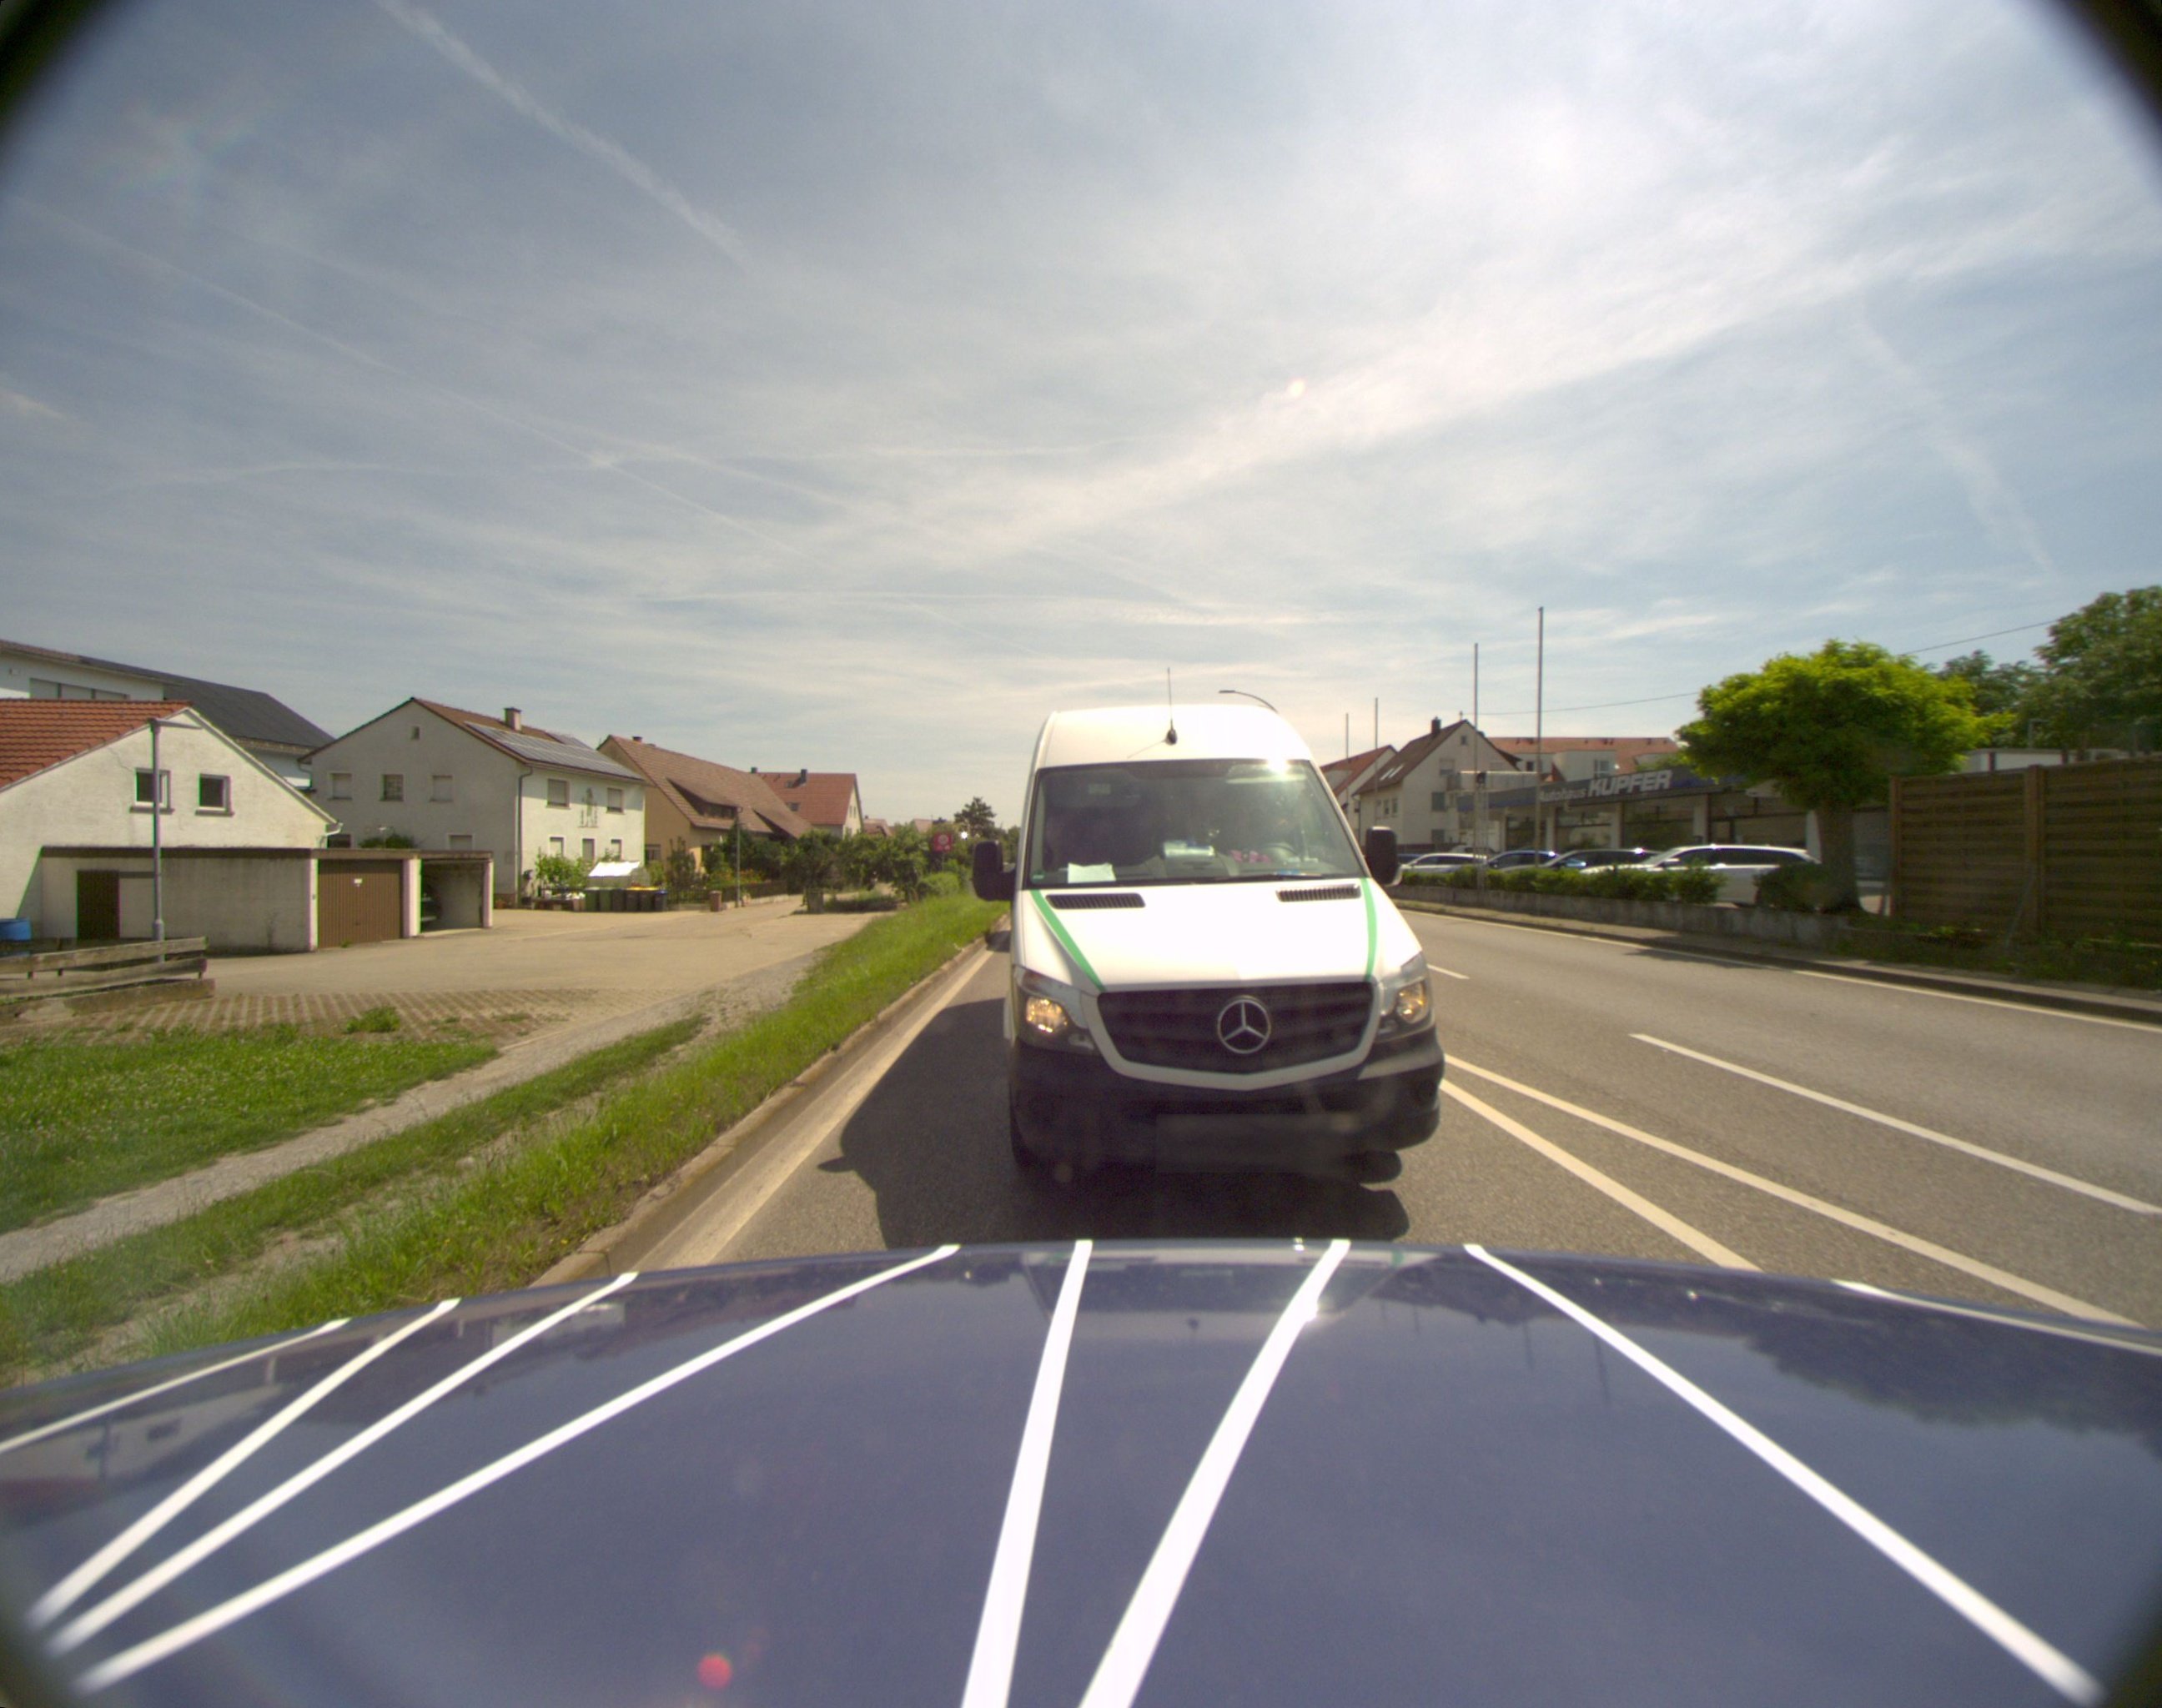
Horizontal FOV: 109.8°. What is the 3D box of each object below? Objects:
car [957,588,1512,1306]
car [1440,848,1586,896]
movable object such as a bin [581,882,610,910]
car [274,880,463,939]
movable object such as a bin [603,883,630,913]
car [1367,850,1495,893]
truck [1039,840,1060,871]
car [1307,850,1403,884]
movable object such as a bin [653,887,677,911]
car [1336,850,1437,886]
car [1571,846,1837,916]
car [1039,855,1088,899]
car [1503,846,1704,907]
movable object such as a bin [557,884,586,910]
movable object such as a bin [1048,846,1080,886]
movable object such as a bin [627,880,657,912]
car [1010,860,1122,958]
[{"bbox_3d":[0.537,0.353,5.621,1.978,2.583,5.633,-2,0,-1],"label":"car"},{"bbox_3d":[14.026,0.591,24.957,3.990,1.433,1.857,-2,0,25],"label":"car"},{"bbox_3d":[-22.125,1.907,34.630,0.745,1.239,0.889,-2,0,-1],"label":"movable object such as a bin"},{"bbox_3d":[-21.587,1.654,23.146,3.997,1.594,1.826,-1,0,0],"label":"car"},{"bbox_3d":[-21.205,1.996,34.695,0.678,1.330,0.820,-2,0,-1],"label":"movable object such as a bin"},{"bbox_3d":[13.485,0.692,29.370,4.303,1.510,2.003,-2,0,27],"label":"car"},{"bbox_3d":[-4.127,0.193,99.408,2.506,3.847,5.497,-2,0,-1],"label":"truck"},{"bbox_3d":[13.567,0.646,37.632,4.255,1.521,2.003,-2,0,26],"label":"car"},{"bbox_3d":[-18.857,2.048,34.491,0.645,1.021,0.756,-2,0,-1],"label":"movable object such as a bin"},{"bbox_3d":[13.534,0.629,33.694,3.990,1.455,2.003,-2,0,26],"label":"car"},{"bbox_3d":[13.865,0.595,17.285,4.329,1.451,1.858,-1,0,24],"label":"car"},{"bbox_3d":[-0.691,0.874,30.357,1.824,1.637,3.901,-1,0,-1],"label":"car"},{"bbox_3d":[14.224,0.614,20.996,4.251,1.536,1.853,-2,0,23],"label":"car"},{"bbox_3d":[-23.055,1.938,34.407,0.740,1.149,0.830,-2,0,-1],"label":"movable object such as a bin"},{"bbox_3d":[-1.181,0.824,55.168,1.998,2.710,5.419,-1,0,1],"label":"movable object such as a bin"},{"bbox_3d":[-19.865,1.904,34.398,0.765,1.362,0.946,-2,0,-1],"label":"movable object such as a bin"},{"bbox_3d":[-0.274,0.912,14.429,1.824,1.574,3.901,-1,0,-1],"label":"car"}]
